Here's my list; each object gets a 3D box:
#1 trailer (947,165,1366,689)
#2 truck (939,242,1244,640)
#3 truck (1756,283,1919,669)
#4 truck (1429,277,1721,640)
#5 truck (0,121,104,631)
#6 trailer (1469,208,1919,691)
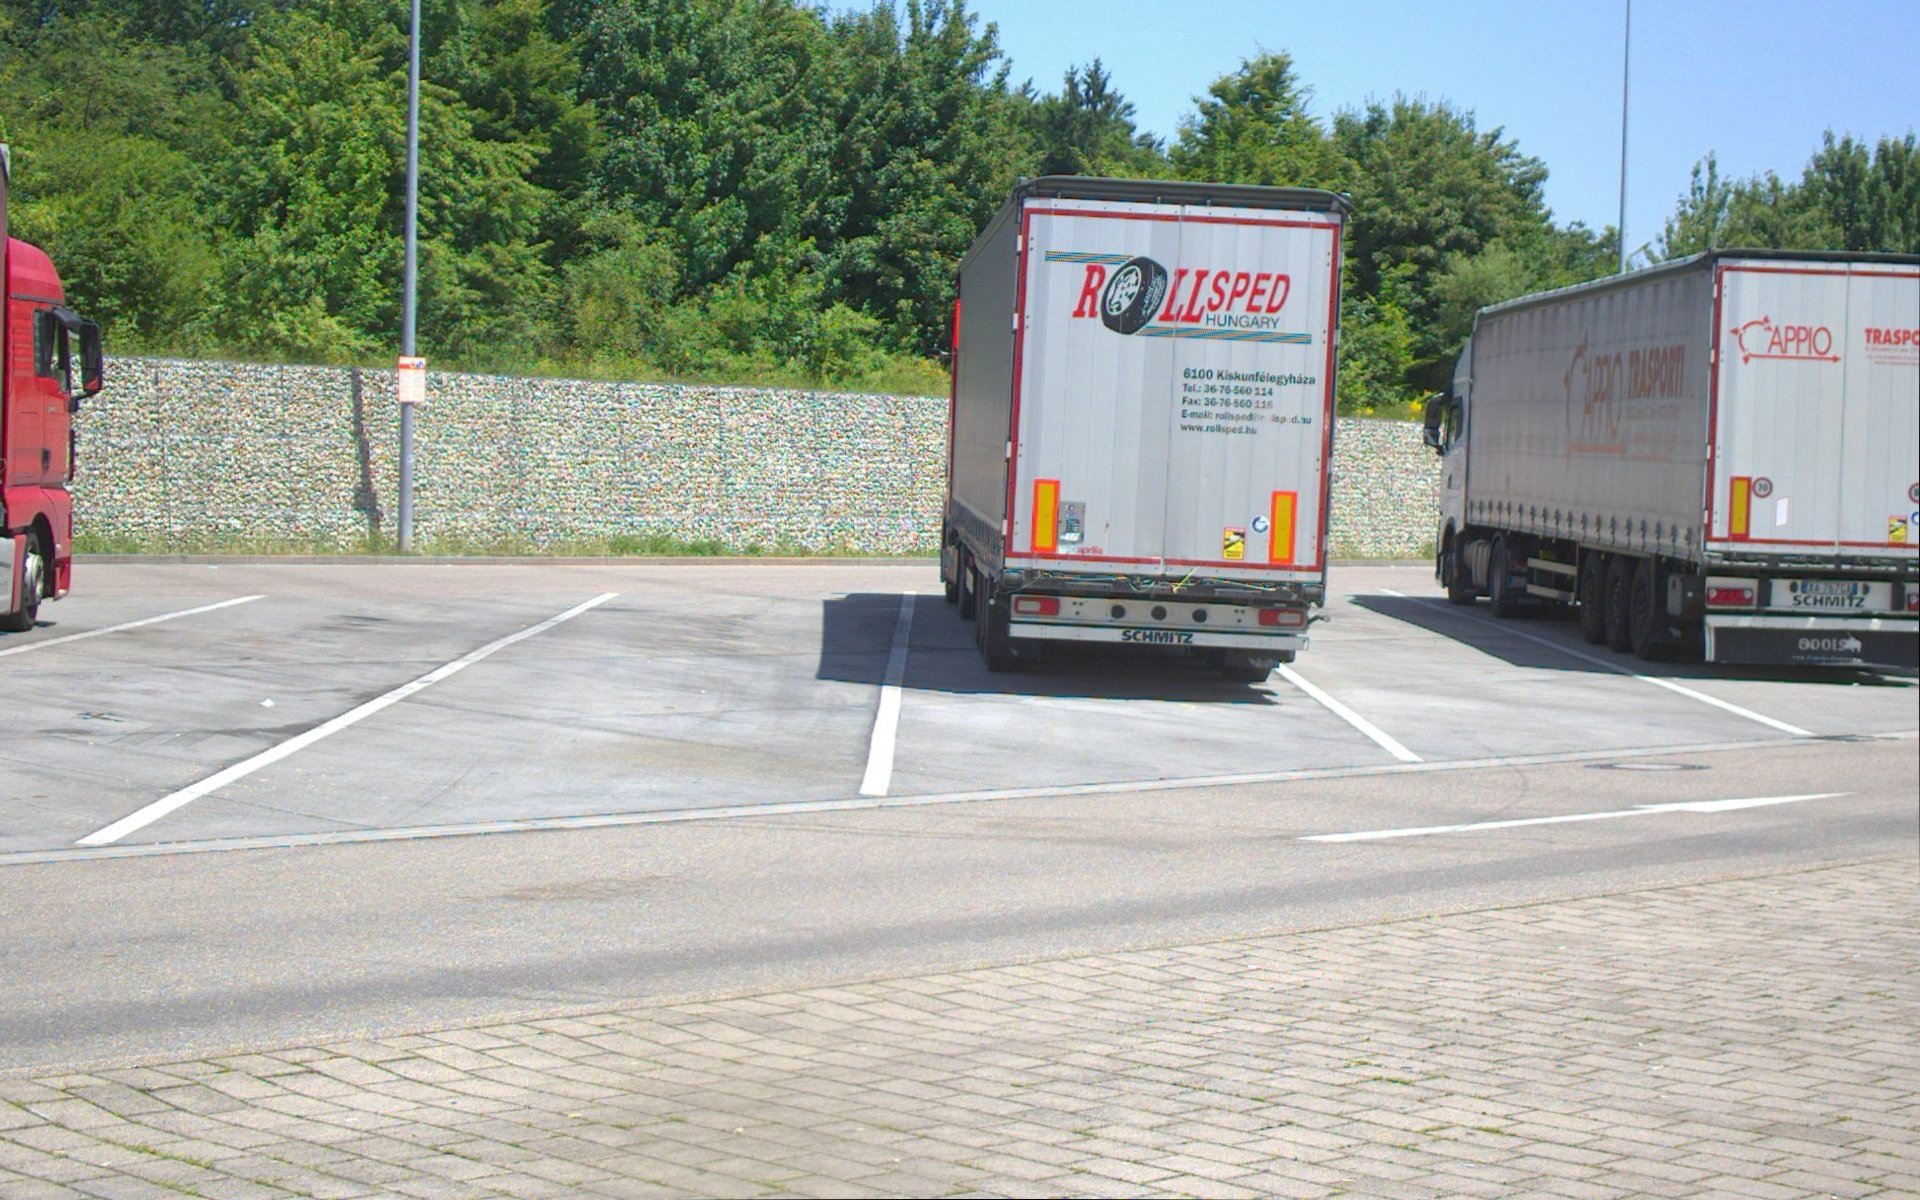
[{"bbox_3d":[1.491,-1.510,32.121,2.897,4.000,11.319,1,2,-2],"label":"trailer"},{"bbox_3d":[1.306,-1.697,37.650,2.871,3.967,6.030,1,2,-2],"label":"truck"},{"bbox_3d":[11.731,-1.347,38.681,2.587,4.211,11.971,1,1,-1],"label":"truck"},{"bbox_3d":[7.979,-1.837,45.307,2.661,4.437,5.864,1,2,-1],"label":"truck"},{"bbox_3d":[-9.174,-1.838,28.347,2.805,4.119,5.894,1,2,-1],"label":"truck"},{"bbox_3d":[8.113,-1.587,38.194,2.681,4.437,12.831,1,2,-1],"label":"trailer"}]
